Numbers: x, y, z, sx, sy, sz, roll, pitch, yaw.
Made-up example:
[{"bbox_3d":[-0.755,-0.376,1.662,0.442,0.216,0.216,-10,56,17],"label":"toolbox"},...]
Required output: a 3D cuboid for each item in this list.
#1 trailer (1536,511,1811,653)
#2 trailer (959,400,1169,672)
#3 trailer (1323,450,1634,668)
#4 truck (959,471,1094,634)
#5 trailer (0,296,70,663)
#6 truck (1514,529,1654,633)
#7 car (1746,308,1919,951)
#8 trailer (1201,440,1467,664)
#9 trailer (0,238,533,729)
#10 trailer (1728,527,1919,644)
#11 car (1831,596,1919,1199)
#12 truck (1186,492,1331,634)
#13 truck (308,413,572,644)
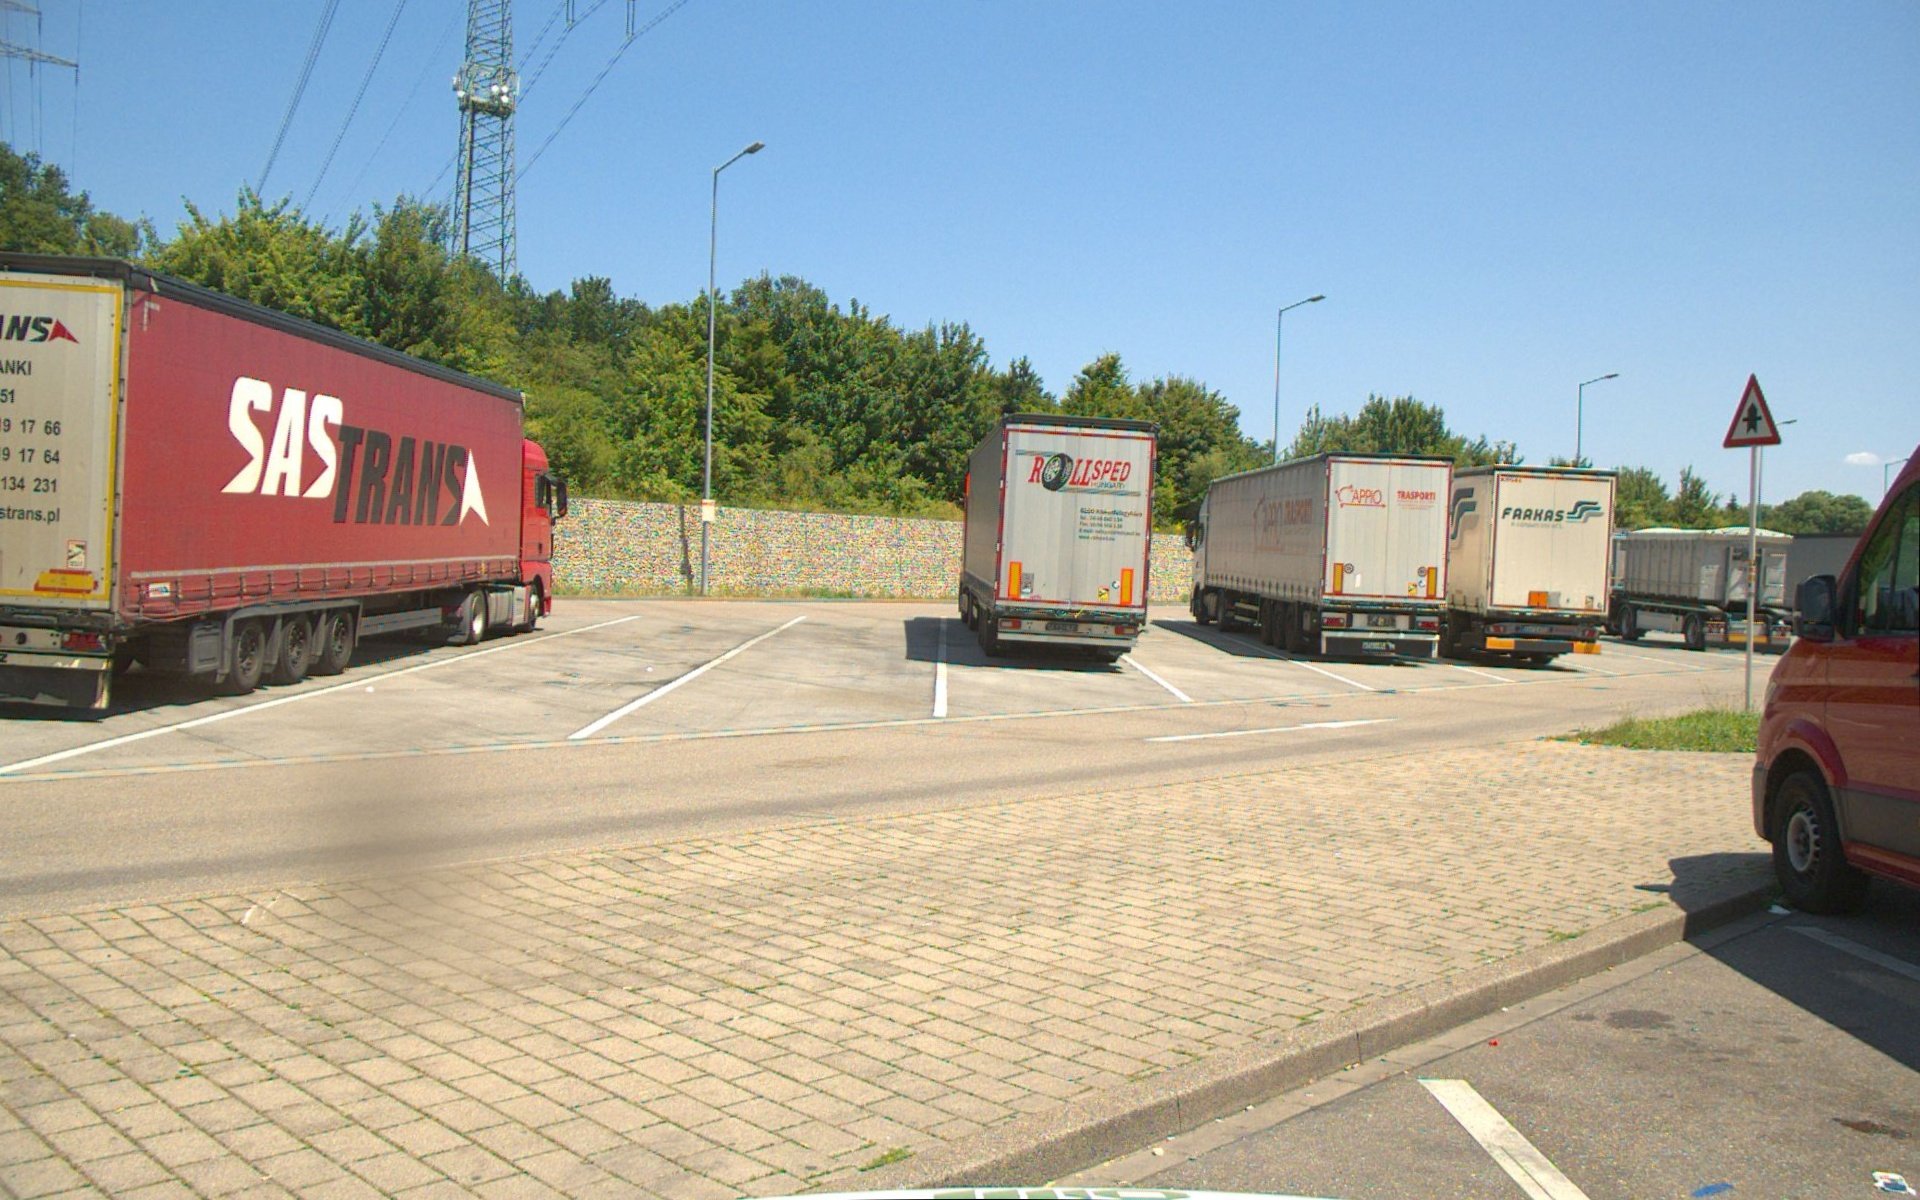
[{"bbox_3d":[21.941,-0.695,52.214,2.780,3.781,13.726,2,2,1],"label":"trailer"},{"bbox_3d":[1.660,-1.234,33.248,2.848,4.204,13.720,2,2,-1],"label":"trailer"},{"bbox_3d":[11.781,-1.024,39.640,2.781,4.204,13.722,2,2,-1],"label":"trailer"},{"bbox_3d":[1.493,-1.147,39.857,2.794,3.544,5.482,2,2,-1],"label":"truck"},{"bbox_3d":[-12.516,-1.306,15.714,2.673,4.282,10.170,2,2,-1],"label":"trailer"},{"bbox_3d":[22.022,-0.725,58.718,2.794,3.423,5.484,2,2,0],"label":"truck"},{"bbox_3d":[5.018,0.162,5.568,2.023,2.742,6.397,1,1,4],"label":"car"},{"bbox_3d":[8.222,-1.144,38.836,2.781,4.204,13.722,2,2,-1],"label":"trailer"},{"bbox_3d":[-8.670,-1.296,21.196,2.848,4.203,13.723,2,2,-1],"label":"trailer"},{"bbox_3d":[34.954,-0.659,65.416,2.780,4.119,13.726,2,2,1],"label":"trailer"},{"bbox_3d":[2.606,0.797,1.164,1.703,1.508,3.813,1,1,-6],"label":"car"},{"bbox_3d":[8.108,-1.044,45.645,2.794,3.544,5.482,2,2,-1],"label":"truck"},{"bbox_3d":[-8.783,-1.206,28.632,2.794,3.487,5.482,2,2,-1],"label":"truck"}]
